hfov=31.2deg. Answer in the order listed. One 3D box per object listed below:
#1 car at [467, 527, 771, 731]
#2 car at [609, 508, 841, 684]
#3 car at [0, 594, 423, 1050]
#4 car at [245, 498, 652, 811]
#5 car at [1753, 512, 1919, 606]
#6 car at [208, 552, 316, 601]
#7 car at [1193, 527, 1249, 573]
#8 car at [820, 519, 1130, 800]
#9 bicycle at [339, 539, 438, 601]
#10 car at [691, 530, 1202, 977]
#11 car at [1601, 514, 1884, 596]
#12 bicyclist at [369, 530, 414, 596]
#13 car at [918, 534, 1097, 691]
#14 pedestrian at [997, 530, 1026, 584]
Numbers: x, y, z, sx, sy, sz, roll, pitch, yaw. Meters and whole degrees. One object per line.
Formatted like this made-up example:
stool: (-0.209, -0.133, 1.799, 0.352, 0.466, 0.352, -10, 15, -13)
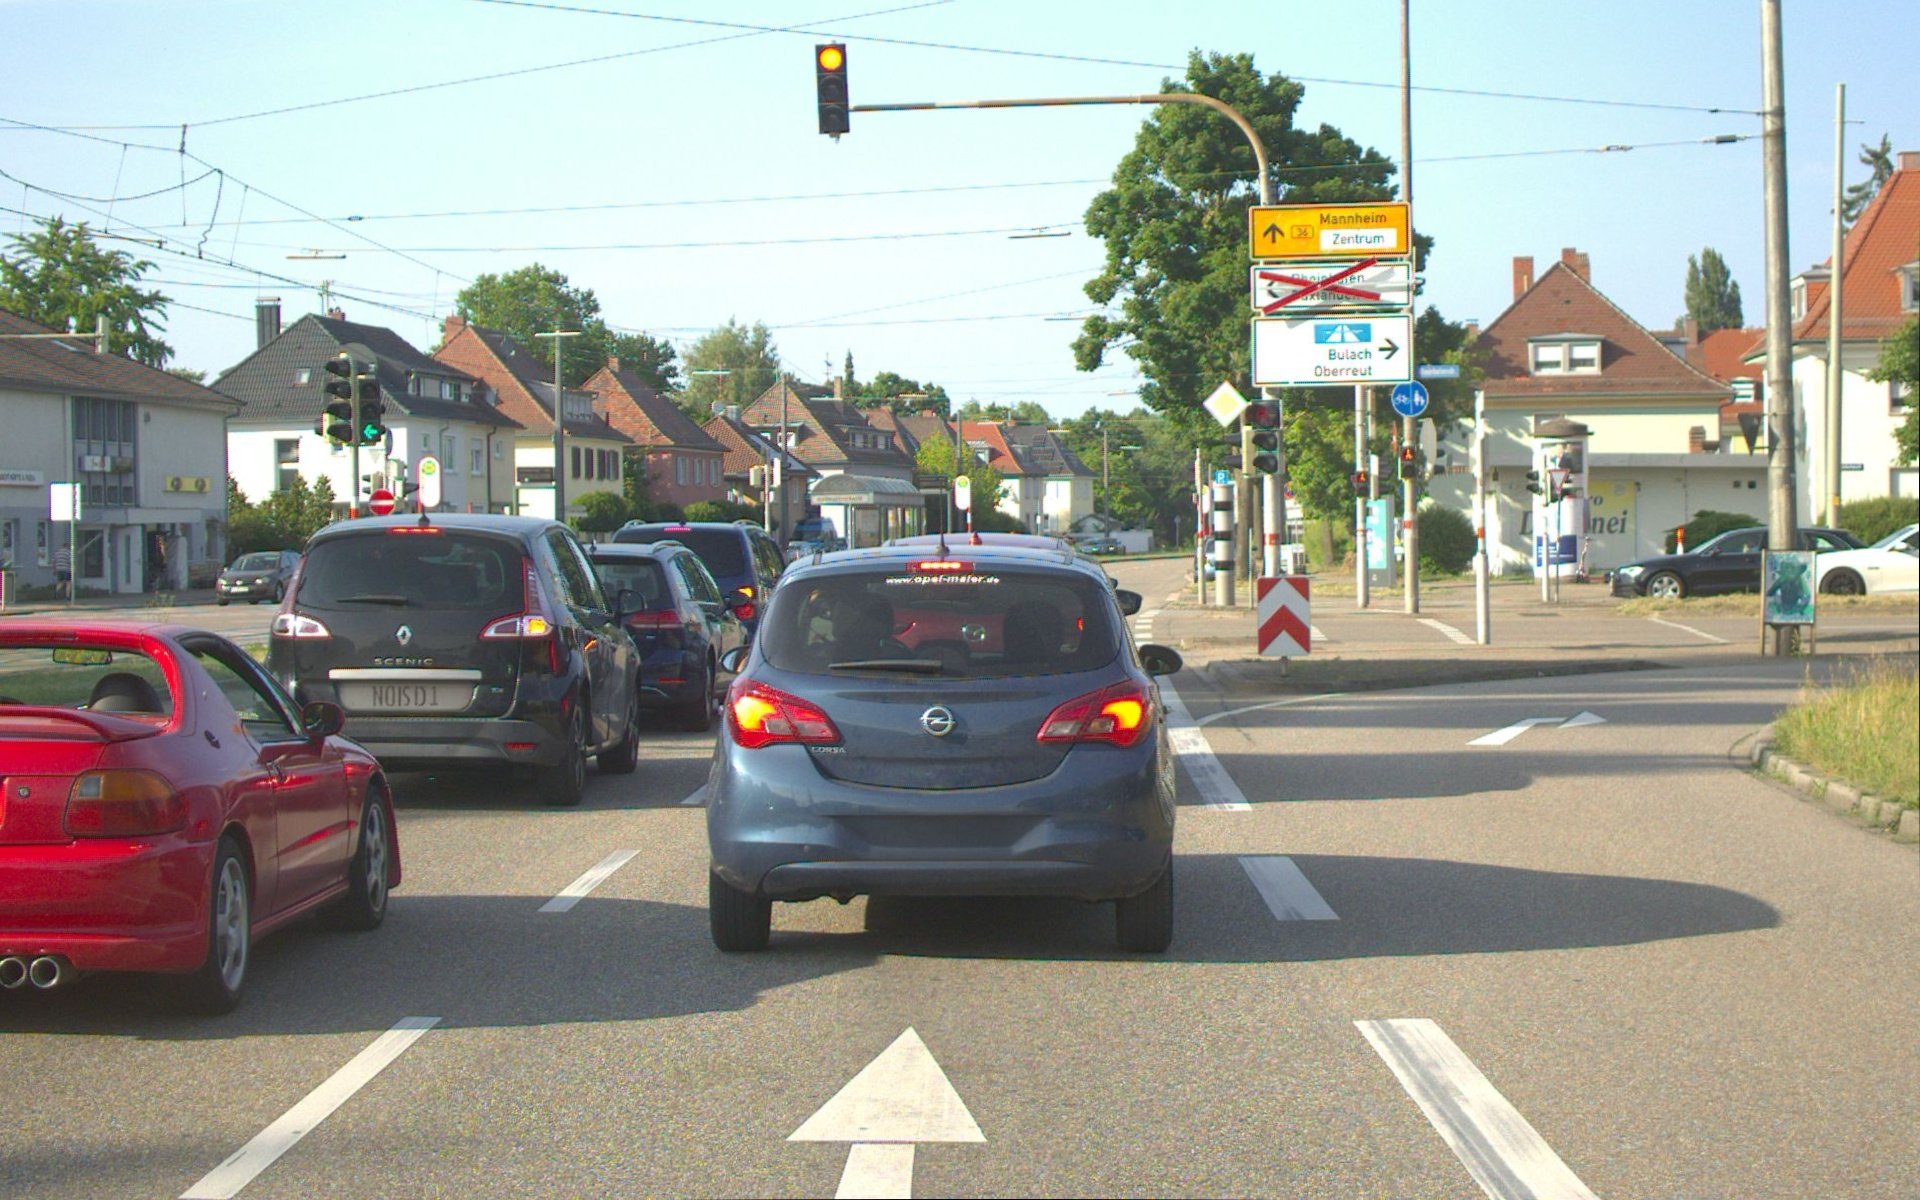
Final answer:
car: (-2.661, 0.168, 27.841, 1.700, 1.503, 4.553, 0, 1, 4)
car: (-2.309, -0.088, 34.949, 1.507, 1.645, 4.743, -1, 1, 6)
car: (-3.066, 0.638, 11.865, 1.731, 1.202, 3.847, 1, 1, 1)
car: (-2.907, 0.244, 20.343, 1.763, 1.665, 4.084, 0, 1, 0)
car: (16.373, -0.731, 59.090, 5.095, 1.557, 1.840, -1, 1, 4)
car: (-19.693, -0.660, 97.204, 1.664, 1.341, 4.075, -1, 0, 9)
car: (8.176, -1.562, 107.852, 1.675, 1.393, 3.999, 1, 0, 4)
car: (0.110, 0.292, 21.231, 1.706, 1.546, 3.978, -1, 1, 1)
bicycle: (-12.601, -0.665, 75.891, 2.073, 1.343, 1.109, 1, 0, -6)
car: (-0.042, 0.486, 13.938, 1.741, 1.500, 4.223, -1, 1, 0)
car: (14.261, -0.824, 62.850, 4.824, 1.406, 1.715, -1, 1, 4)
bicyclist: (-12.552, -0.819, 75.886, 0.884, 1.426, 1.137, 1, 0, -6)
car: (0.486, 0.077, 34.247, 1.656, 1.438, 4.014, -1, 1, 1)
pedestrian: (1.447, -1.214, 96.439, 0.753, 1.494, 0.827, 1, 0, 6)
